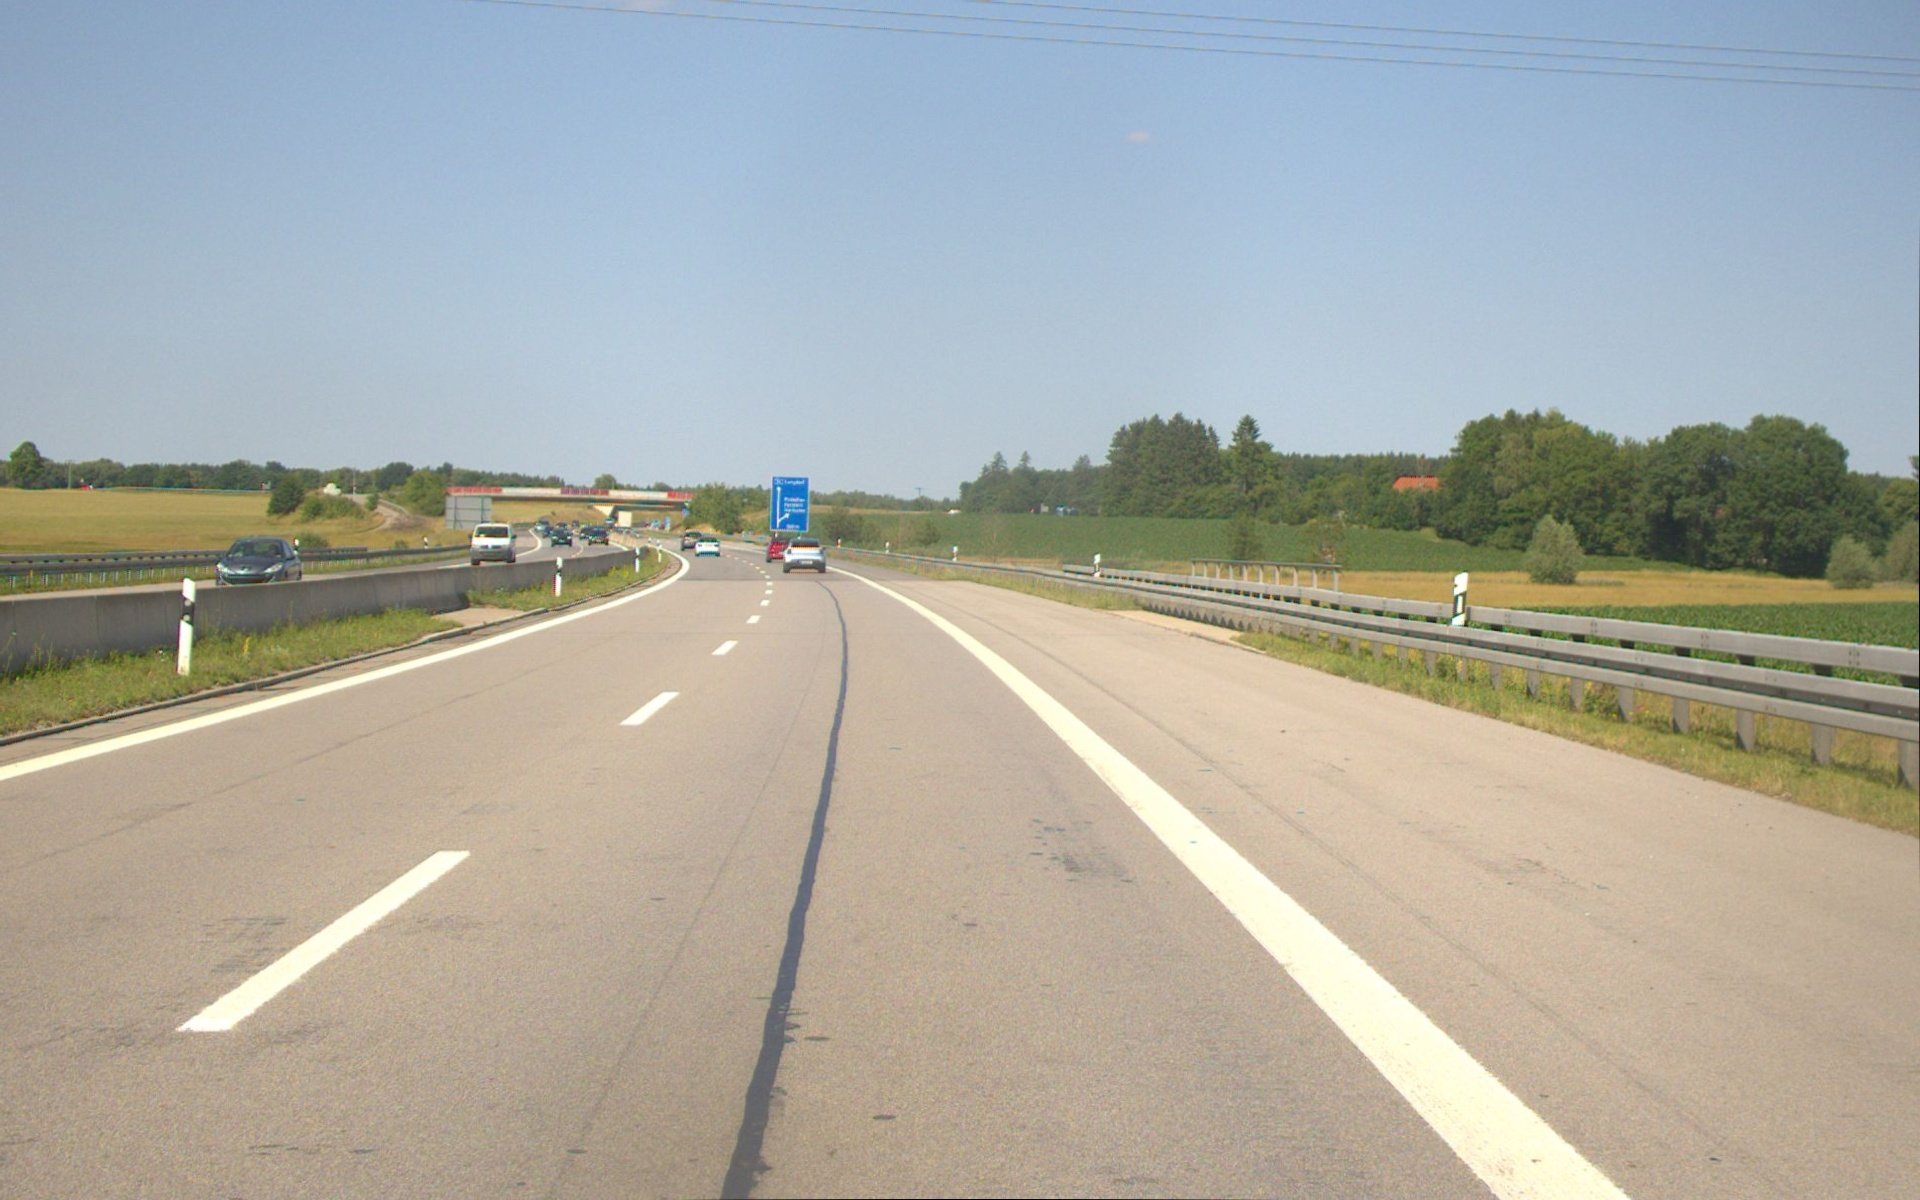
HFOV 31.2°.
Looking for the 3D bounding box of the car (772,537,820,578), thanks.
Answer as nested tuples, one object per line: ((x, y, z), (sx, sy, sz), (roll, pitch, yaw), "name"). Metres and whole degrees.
((-7.375, -1.920, 154.424), (1.993, 1.725, 4.870), (1, 1, -4), "car")

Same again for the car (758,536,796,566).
((-10.914, -2.943, 205.058), (1.993, 1.725, 4.870), (1, 1, -5), "car")

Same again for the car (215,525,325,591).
((-16.974, -1.049, 84.797), (1.859, 1.509, 4.586), (3, 1, -2), "car")

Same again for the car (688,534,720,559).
((-18.283, -3.815, 245.147), (1.993, 1.725, 4.870), (1, 1, -7), "car")

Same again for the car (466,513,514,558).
((-22.054, -3.009, 161.539), (1.993, 2.007, 5.615), (1, 1, -5), "car")
